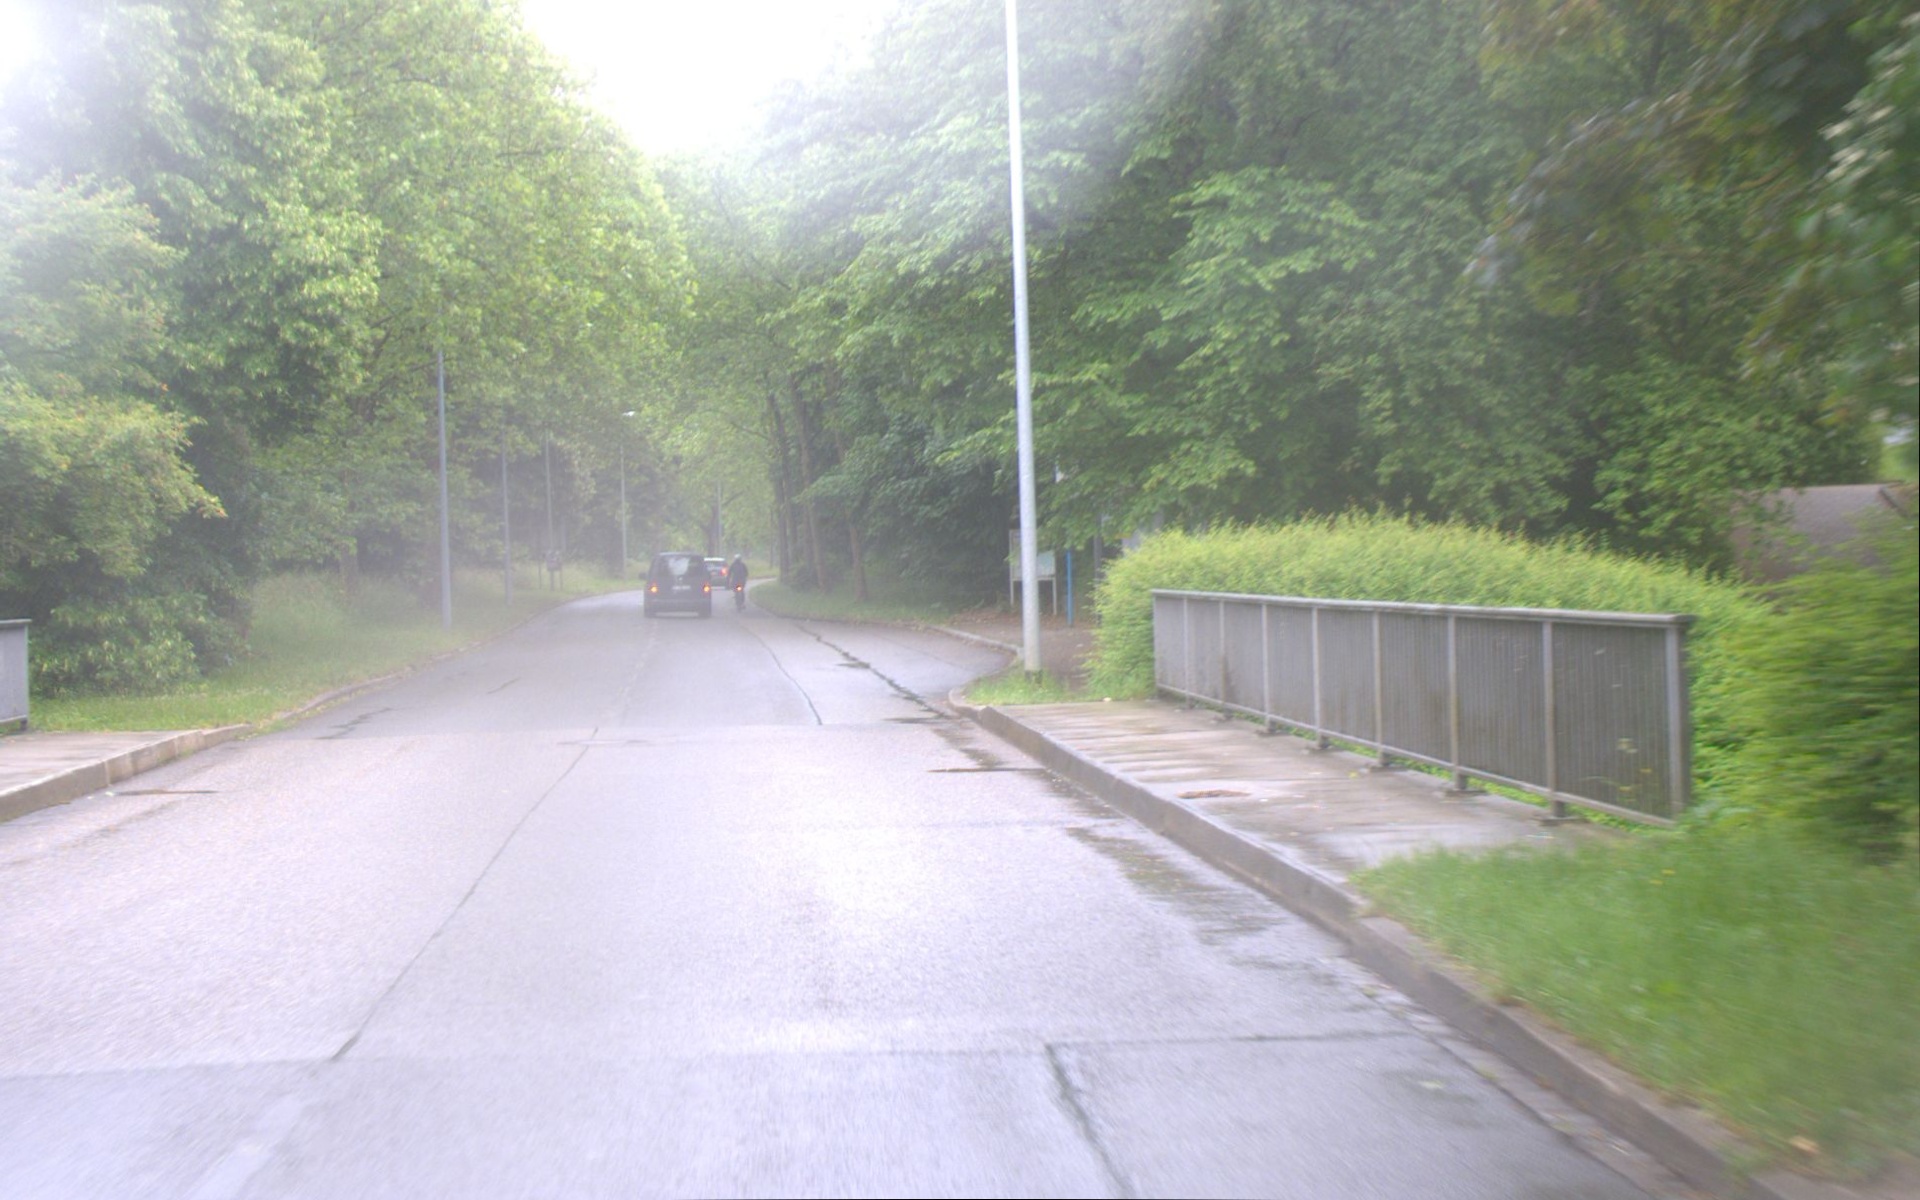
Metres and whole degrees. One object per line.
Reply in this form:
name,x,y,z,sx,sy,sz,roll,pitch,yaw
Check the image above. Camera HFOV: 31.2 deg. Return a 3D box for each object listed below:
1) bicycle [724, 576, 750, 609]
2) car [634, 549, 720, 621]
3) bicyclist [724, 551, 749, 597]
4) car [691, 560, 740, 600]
bicycle,-6.837,-0.236,105.310,0.729,0.970,2.173,0,1,-2
car,-7.925,-0.427,95.937,1.985,1.919,4.001,-1,1,-10
bicyclist,-6.831,-0.793,105.269,0.729,1.406,0.973,0,1,-2
car,-11.262,-0.928,157.964,1.993,1.809,4.001,0,0,-8
